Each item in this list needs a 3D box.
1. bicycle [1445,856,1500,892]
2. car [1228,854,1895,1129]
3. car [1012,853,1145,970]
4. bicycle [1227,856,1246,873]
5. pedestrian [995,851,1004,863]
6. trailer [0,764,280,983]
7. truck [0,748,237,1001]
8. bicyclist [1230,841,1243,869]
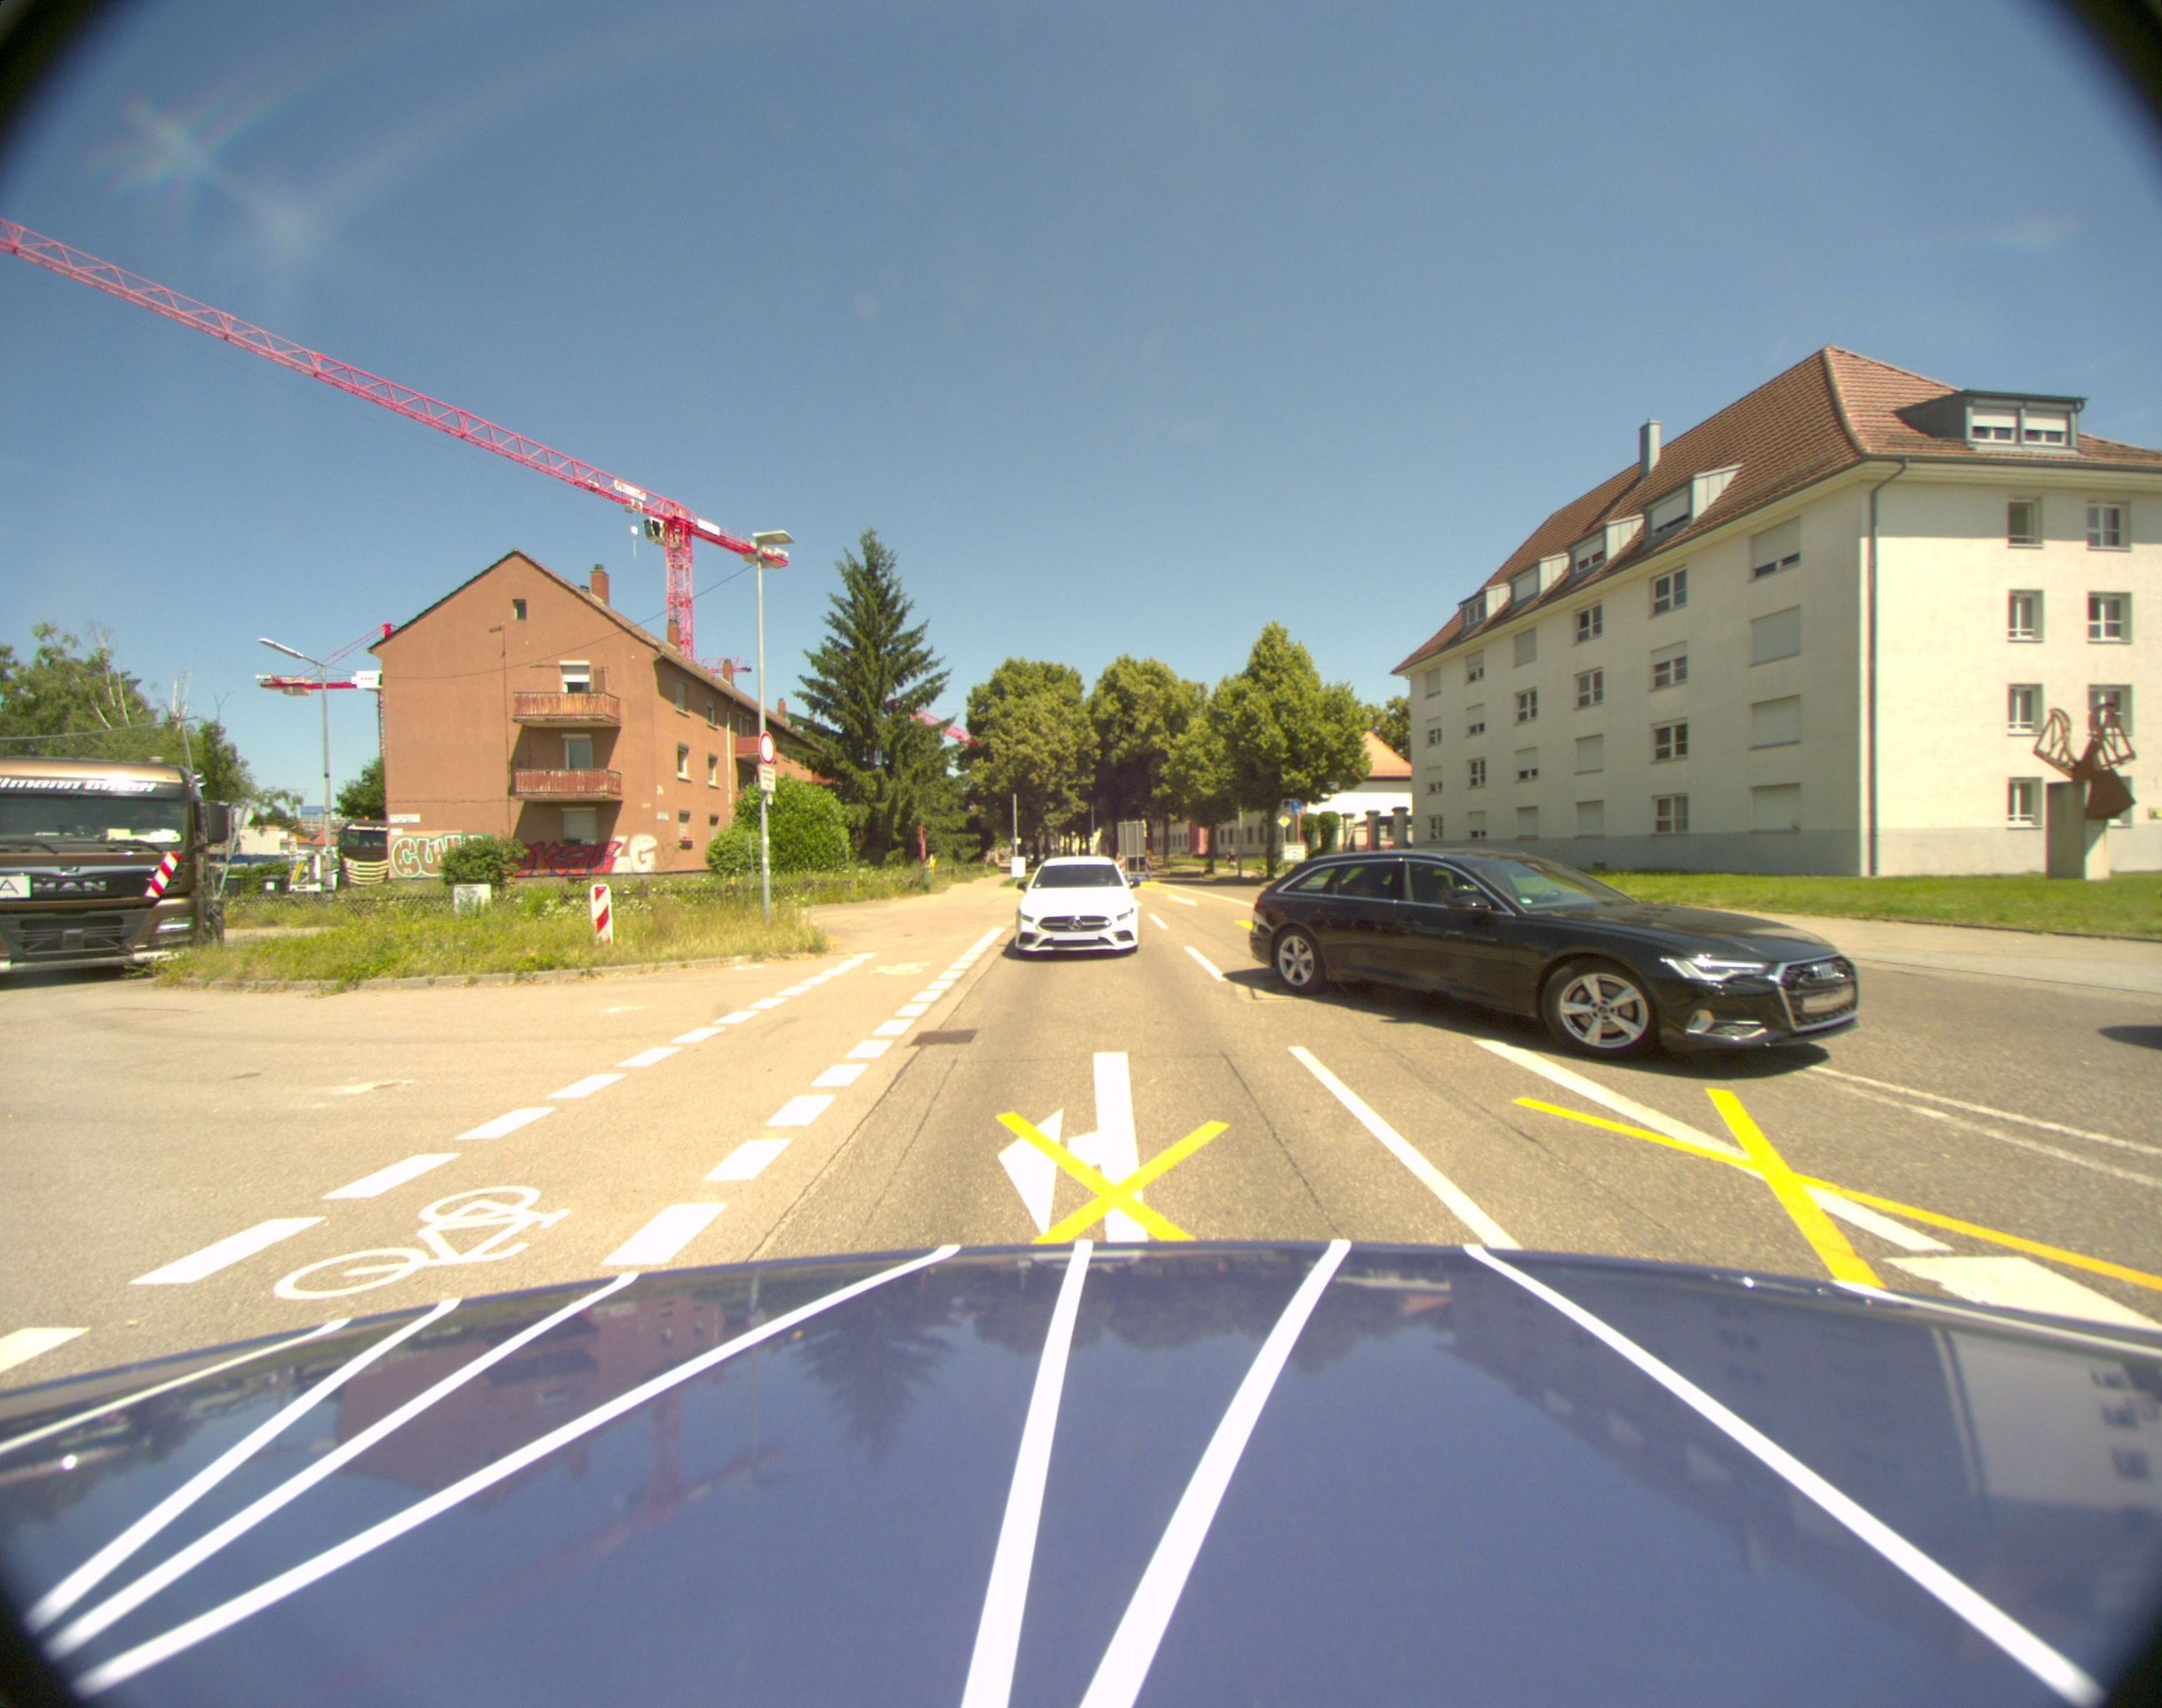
[{"bbox_3d":[12.565,0.624,24.476,0.709,1.018,1.985,-4,1,0],"label":"bicycle"},{"bbox_3d":[3.483,0.787,6.629,1.804,1.443,4.608,-3,1,-28],"label":"car"},{"bbox_3d":[-0.051,0.788,12.434,1.780,1.536,3.962,-2,0,-1],"label":"car"},{"bbox_3d":[9.107,0.609,44.468,0.562,0.910,1.907,-1,1,-5],"label":"bicycle"},{"bbox_3d":[-10.139,0.334,94.875,1.024,1.509,0.682,-1,1,0],"label":"pedestrian"},{"bbox_3d":[-20.851,0.377,15.100,8.973,3.512,3.169,-1,1,18],"label":"trailer"},{"bbox_3d":[-16.459,0.299,12.613,4.950,3.512,3.171,-1,1,42],"label":"truck"},{"bbox_3d":[9.097,0.058,44.512,0.568,1.601,0.740,-1,1,-5],"label":"bicyclist"}]
